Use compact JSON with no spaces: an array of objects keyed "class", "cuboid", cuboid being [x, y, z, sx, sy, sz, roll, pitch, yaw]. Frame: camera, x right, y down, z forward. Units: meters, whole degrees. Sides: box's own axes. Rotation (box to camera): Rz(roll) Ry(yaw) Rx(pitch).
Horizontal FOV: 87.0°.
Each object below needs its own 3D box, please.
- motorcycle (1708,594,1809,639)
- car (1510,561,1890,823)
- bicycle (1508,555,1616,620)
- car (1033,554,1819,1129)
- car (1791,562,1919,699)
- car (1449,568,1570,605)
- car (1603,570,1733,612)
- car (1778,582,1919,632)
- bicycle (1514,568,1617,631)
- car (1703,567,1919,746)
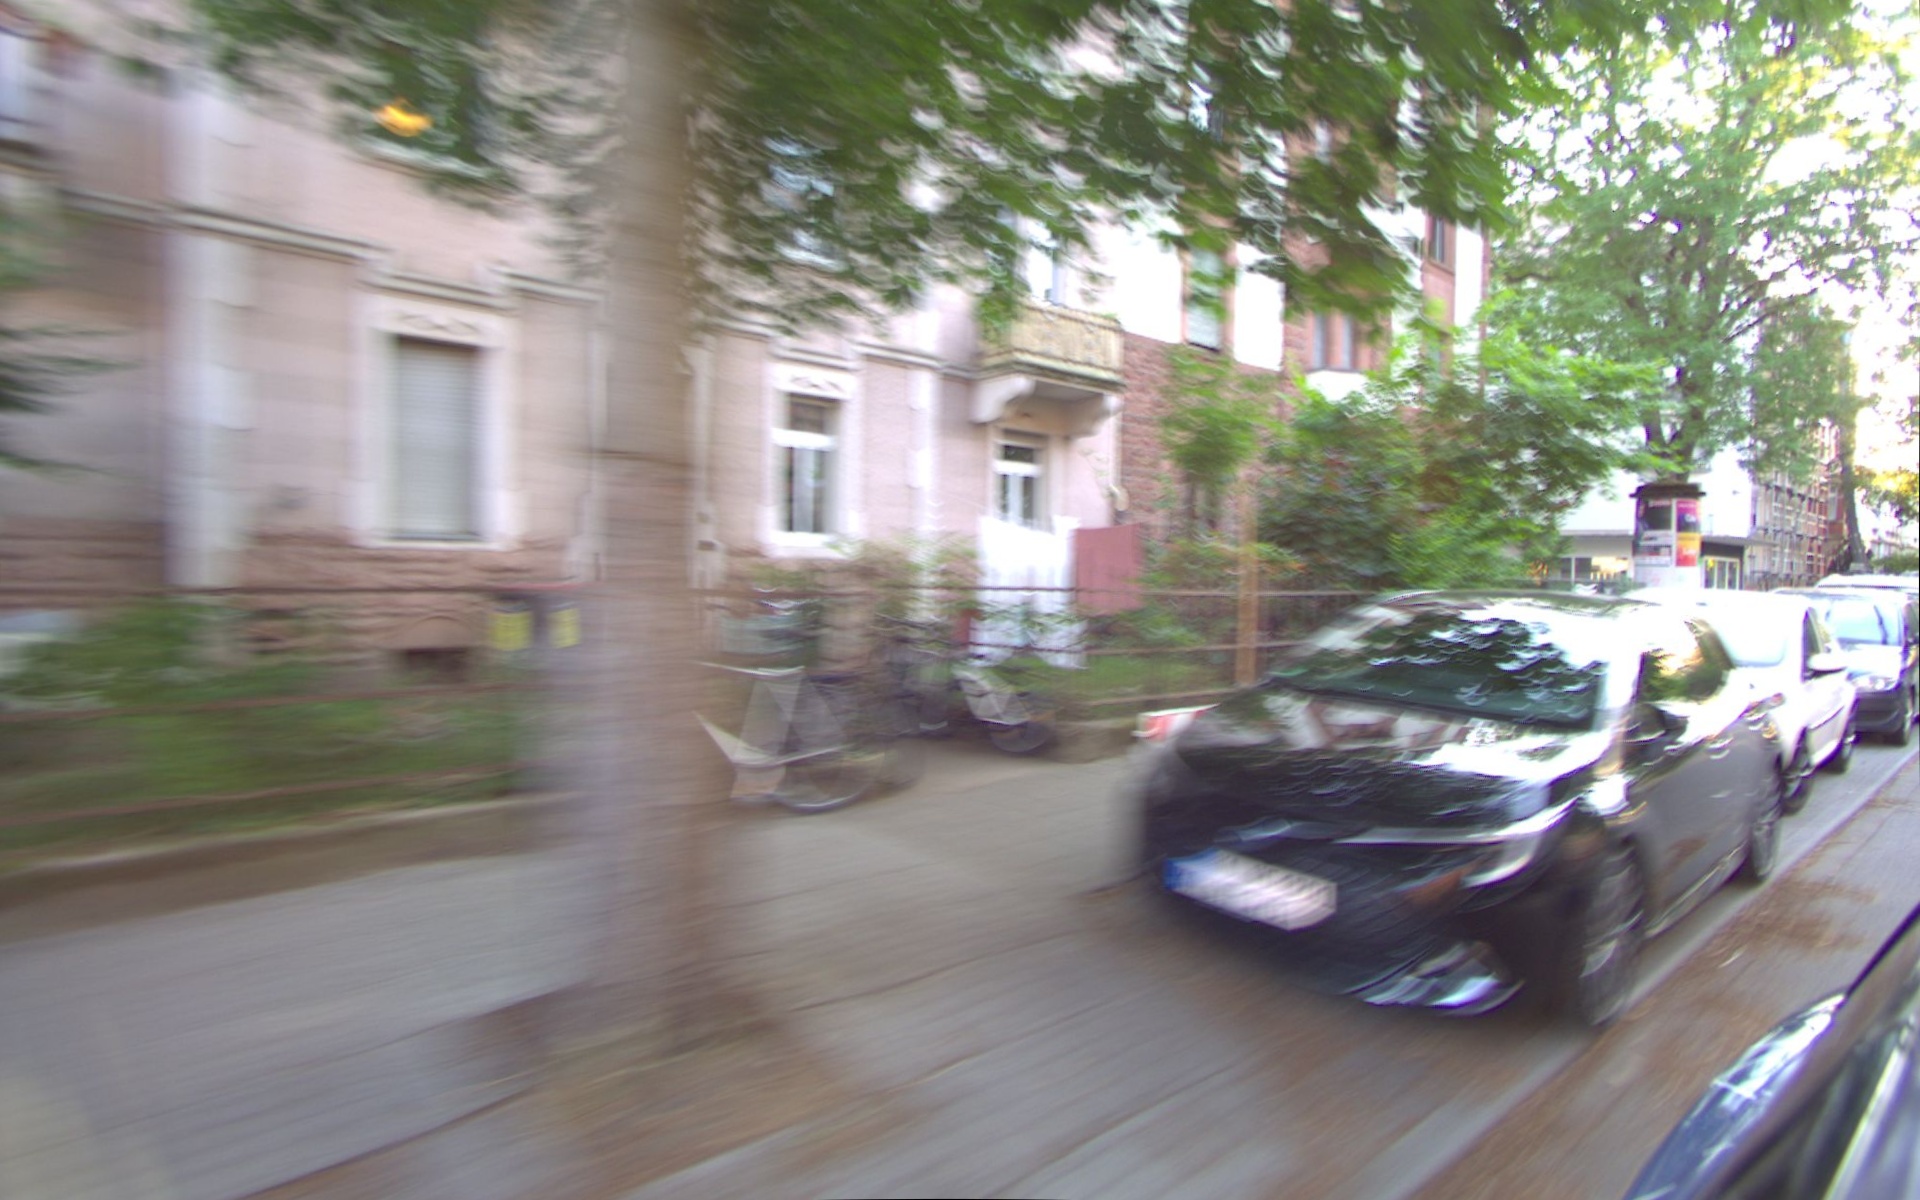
[{"class":"motorcycle","cuboid":[21.147,0.429,26.815,2.173,1.093,0.437,2,1,5]},{"class":"car","cuboid":[6.044,0.524,8.124,3.684,1.626,1.690,-1,2,-41]},{"class":"bicycle","cuboid":[10.212,-0.228,17.205,0.325,1.046,1.512,2,2,-42]},{"class":"car","cuboid":[2.404,0.576,4.635,4.137,1.458,1.690,-1,4,-41]},{"class":"car","cuboid":[13.677,0.350,14.783,4.524,1.732,1.800,-1,3,-44]},{"class":"car","cuboid":[22.123,-0.569,40.927,4.194,1.446,1.642,1,2,27]},{"class":"car","cuboid":[26.818,-0.336,38.461,3.863,1.526,1.610,1,0,29]},{"class":"car","cuboid":[31.387,0.223,35.861,3.450,1.593,1.609,3,1,31]},{"class":"bicycle","cuboid":[10.764,-0.026,18.028,0.325,1.046,1.512,2,2,-42]},{"class":"car","cuboid":[9.765,0.464,11.185,4.138,1.626,1.689,-1,2,-42]}]
